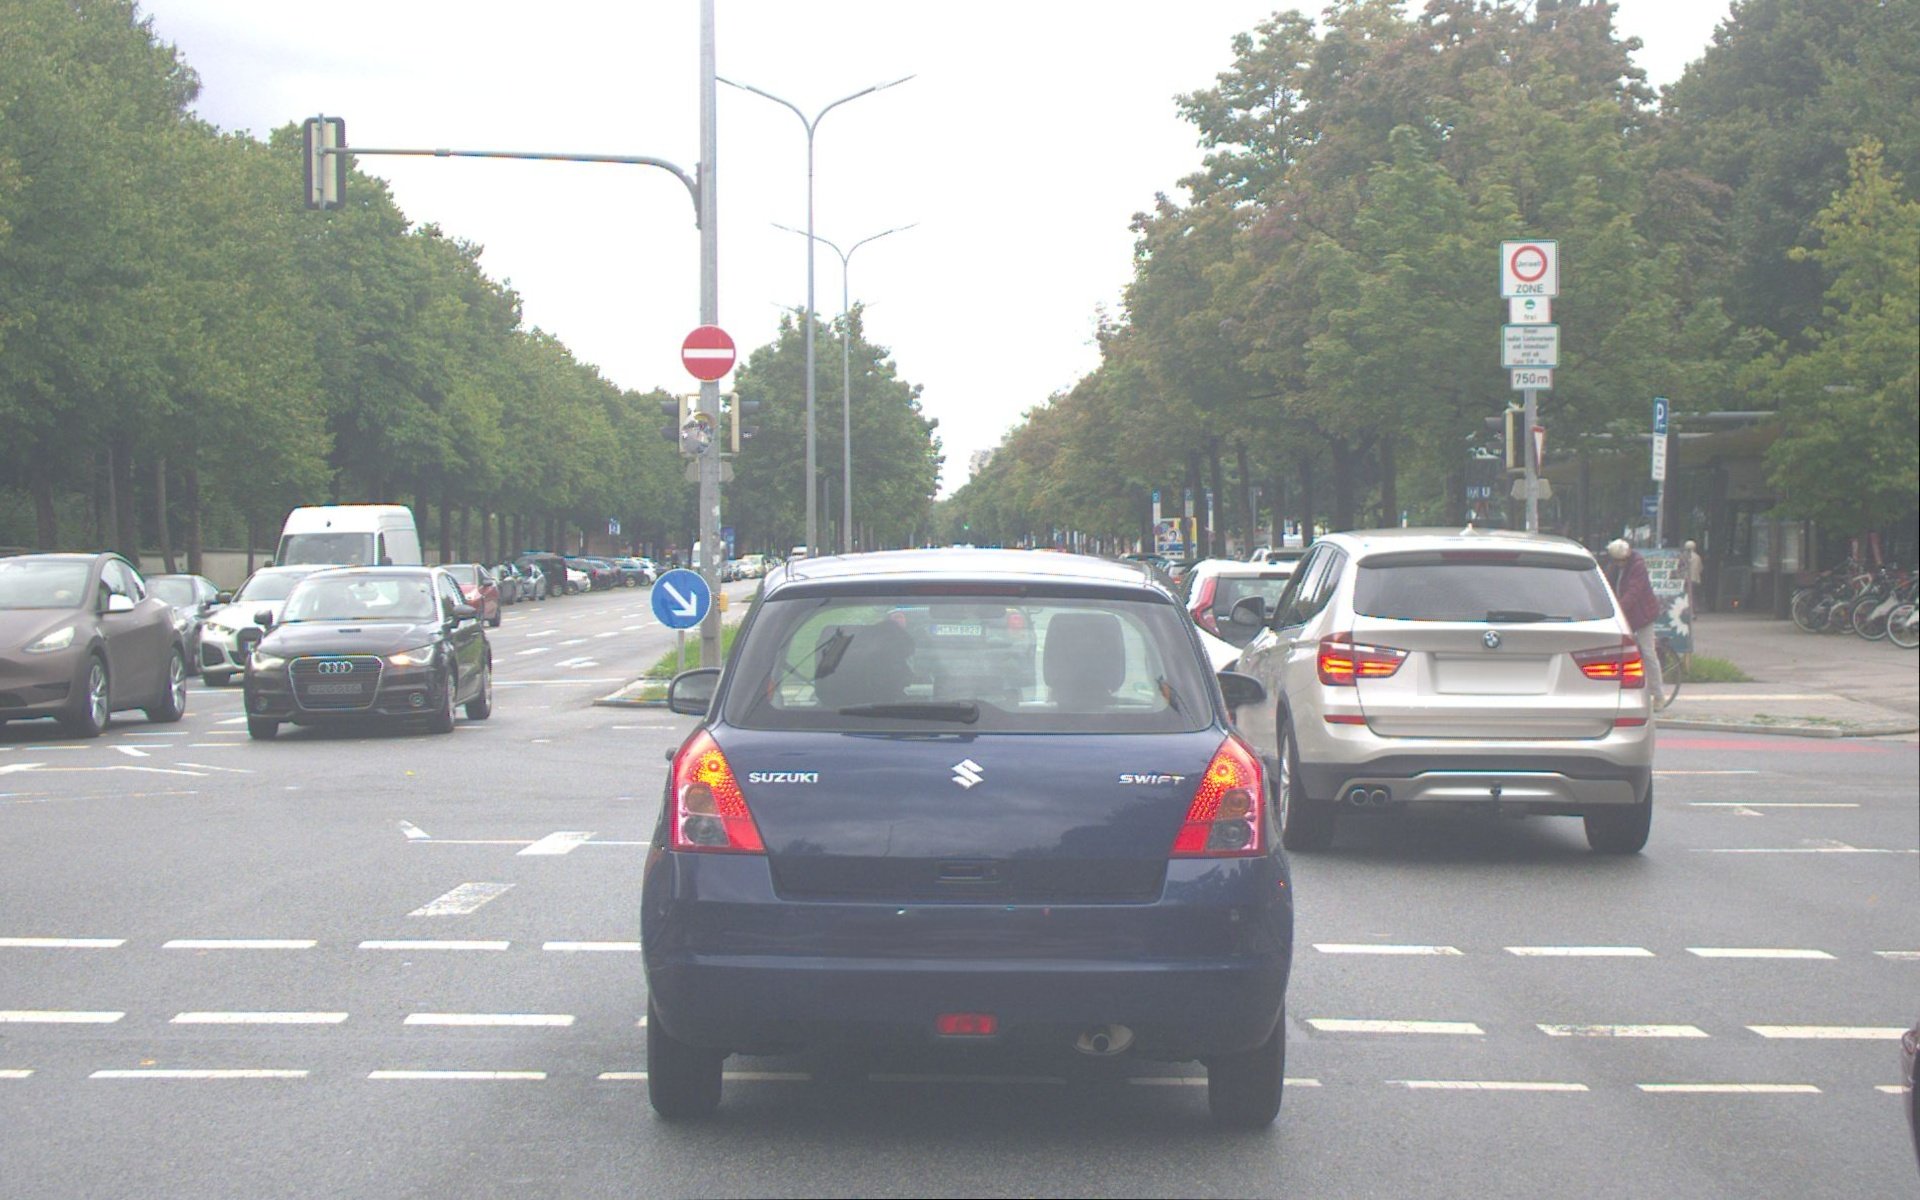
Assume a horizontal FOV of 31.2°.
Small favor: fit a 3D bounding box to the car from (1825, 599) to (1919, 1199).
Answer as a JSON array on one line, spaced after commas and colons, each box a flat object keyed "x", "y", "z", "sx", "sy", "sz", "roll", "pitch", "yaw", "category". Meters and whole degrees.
[{"x": 2.691, "y": 0.751, "z": 5.391, "sx": 1.622, "sy": 1.449, "sz": 3.950, "roll": 0, "pitch": 1, "yaw": -1, "category": "car"}]

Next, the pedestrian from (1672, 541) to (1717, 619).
[{"x": 14.289, "y": -0.396, "z": 66.901, "sx": 0.578, "sy": 1.508, "sz": 0.694, "roll": 0, "pitch": 1, "yaw": -19, "category": "pedestrian"}]

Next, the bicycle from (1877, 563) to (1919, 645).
[{"x": 13.880, "y": 0.038, "z": 48.367, "sx": 1.807, "sy": 1.138, "sz": 0.567, "roll": -2, "pitch": 1, "yaw": 9, "category": "bicycle"}]

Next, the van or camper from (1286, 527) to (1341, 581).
[{"x": 16.956, "y": -2.224, "z": 165.215, "sx": 2.024, "sy": 2.549, "sz": 5.957, "roll": 0, "pitch": 1, "yaw": 0, "category": "van or camper"}]

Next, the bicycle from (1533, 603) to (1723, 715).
[{"x": 6.724, "y": 0.579, "z": 34.586, "sx": 1.941, "sy": 1.077, "sz": 0.748, "roll": -1, "pitch": 1, "yaw": -36, "category": "bicycle"}]

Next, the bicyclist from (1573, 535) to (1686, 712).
[{"x": 6.736, "y": 0.225, "z": 34.596, "sx": 0.825, "sy": 1.758, "sz": 0.746, "roll": -1, "pitch": 1, "yaw": -35, "category": "bicyclist"}]

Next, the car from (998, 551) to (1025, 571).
[{"x": 3.925, "y": -2.963, "z": 261.004, "sx": 1.850, "sy": 1.442, "sz": 4.098, "roll": 0, "pitch": 1, "yaw": -2, "category": "car"}]

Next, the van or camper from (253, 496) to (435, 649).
[{"x": -11.509, "y": -0.544, "z": 64.762, "sx": 2.178, "sy": 2.638, "sz": 6.951, "roll": -2, "pitch": 1, "yaw": -1, "category": "van or camper"}]

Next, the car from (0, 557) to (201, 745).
[{"x": -8.202, "y": 0.394, "z": 30.569, "sx": 1.862, "sy": 1.536, "sz": 4.750, "roll": 0, "pitch": 1, "yaw": 0, "category": "car"}]

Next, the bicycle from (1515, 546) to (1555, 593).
[{"x": 15.714, "y": -0.841, "z": 93.978, "sx": 0.645, "sy": 1.276, "sz": 2.550, "roll": 0, "pitch": 1, "yaw": 0, "category": "bicycle"}]

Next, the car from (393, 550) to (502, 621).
[{"x": -11.488, "y": -0.350, "z": 77.332, "sx": 1.743, "sy": 1.447, "sz": 4.658, "roll": -2, "pitch": 1, "yaw": 0, "category": "car"}]

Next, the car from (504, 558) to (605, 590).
[{"x": -17.751, "y": -1.148, "z": 150.693, "sx": 3.987, "sy": 1.349, "sz": 1.850, "roll": -1, "pitch": 1, "yaw": -35, "category": "car"}]

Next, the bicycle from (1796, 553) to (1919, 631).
[{"x": 14.630, "y": -0.138, "z": 55.026, "sx": 2.338, "sy": 1.153, "sz": 0.529, "roll": -2, "pitch": 1, "yaw": 0, "category": "bicycle"}]

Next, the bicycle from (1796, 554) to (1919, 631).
[{"x": 14.769, "y": -0.134, "z": 55.577, "sx": 2.338, "sy": 1.153, "sz": 0.529, "roll": -2, "pitch": 1, "yaw": 0, "category": "bicycle"}]

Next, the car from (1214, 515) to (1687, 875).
[{"x": 2.520, "y": 0.428, "z": 18.639, "sx": 1.850, "sy": 1.737, "sz": 4.098, "roll": 0, "pitch": 1, "yaw": -2, "category": "car"}]

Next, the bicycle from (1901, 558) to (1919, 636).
[{"x": 15.539, "y": -0.089, "z": 52.114, "sx": 2.338, "sy": 1.153, "sz": 0.585, "roll": -2, "pitch": 1, "yaw": 0, "category": "bicycle"}]

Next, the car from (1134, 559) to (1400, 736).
[{"x": 2.632, "y": 0.368, "z": 30.334, "sx": 1.850, "sy": 1.442, "sz": 4.098, "roll": 0, "pitch": 1, "yaw": -2, "category": "car"}]

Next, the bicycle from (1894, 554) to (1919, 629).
[{"x": 15.905, "y": -0.173, "z": 53.839, "sx": 2.338, "sy": 1.153, "sz": 0.585, "roll": -2, "pitch": 1, "yaw": 0, "category": "bicycle"}]

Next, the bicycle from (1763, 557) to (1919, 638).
[{"x": 13.668, "y": -0.041, "z": 53.149, "sx": 2.338, "sy": 1.153, "sz": 0.585, "roll": -2, "pitch": 1, "yaw": 0, "category": "bicycle"}]

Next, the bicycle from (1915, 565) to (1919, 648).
[{"x": 14.032, "y": 0.062, "z": 46.980, "sx": 1.805, "sy": 1.138, "sz": 0.567, "roll": -2, "pitch": 1, "yaw": -11, "category": "bicycle"}]

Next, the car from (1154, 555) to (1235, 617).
[{"x": 5.861, "y": -0.376, "z": 86.324, "sx": 1.717, "sy": 1.503, "sz": 4.224, "roll": 0, "pitch": 1, "yaw": 0, "category": "car"}]

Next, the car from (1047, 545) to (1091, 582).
[{"x": 4.824, "y": -1.629, "z": 152.303, "sx": 1.764, "sy": 1.646, "sz": 4.424, "roll": 0, "pitch": 1, "yaw": -1, "category": "car"}]

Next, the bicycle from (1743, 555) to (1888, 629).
[{"x": 14.593, "y": -0.143, "z": 58.623, "sx": 2.338, "sy": 1.153, "sz": 0.529, "roll": -3, "pitch": 1, "yaw": -8, "category": "bicycle"}]

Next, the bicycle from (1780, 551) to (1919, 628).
[{"x": 14.646, "y": -0.169, "z": 56.127, "sx": 2.338, "sy": 1.153, "sz": 0.529, "roll": -2, "pitch": 1, "yaw": 0, "category": "bicycle"}]

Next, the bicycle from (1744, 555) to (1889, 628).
[{"x": 14.825, "y": -0.153, "z": 59.537, "sx": 2.338, "sy": 1.153, "sz": 0.529, "roll": -2, "pitch": 1, "yaw": 0, "category": "bicycle"}]

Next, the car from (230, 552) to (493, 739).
[{"x": -5.037, "y": 0.339, "z": 29.355, "sx": 1.639, "sy": 1.482, "sz": 3.781, "roll": 0, "pitch": 1, "yaw": -1, "category": "car"}]

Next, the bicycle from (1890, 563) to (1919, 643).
[{"x": 14.365, "y": 0.021, "z": 49.467, "sx": 1.806, "sy": 1.138, "sz": 0.567, "roll": -2, "pitch": 1, "yaw": 5, "category": "bicycle"}]

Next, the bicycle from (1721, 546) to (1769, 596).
[{"x": 20.263, "y": -0.753, "z": 88.816, "sx": 0.645, "sy": 1.276, "sz": 2.550, "roll": 0, "pitch": 1, "yaw": 0, "category": "bicycle"}]

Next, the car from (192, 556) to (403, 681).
[{"x": -8.343, "y": 0.190, "z": 43.651, "sx": 1.727, "sy": 1.482, "sz": 4.743, "roll": 0, "pitch": 1, "yaw": 0, "category": "car"}]

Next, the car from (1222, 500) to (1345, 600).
[{"x": 5.867, "y": -0.931, "z": 62.856, "sx": 1.747, "sy": 1.718, "sz": 4.906, "roll": 1, "pitch": 1, "yaw": 0, "category": "car"}]

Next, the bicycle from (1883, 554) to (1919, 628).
[{"x": 15.895, "y": -0.183, "z": 54.449, "sx": 2.338, "sy": 1.153, "sz": 0.585, "roll": -2, "pitch": 1, "yaw": 0, "category": "bicycle"}]

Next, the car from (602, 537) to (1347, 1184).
[{"x": -0.028, "y": 0.595, "z": 10.266, "sx": 1.789, "sy": 1.550, "sz": 4.000, "roll": 0, "pitch": 1, "yaw": -2, "category": "car"}]
